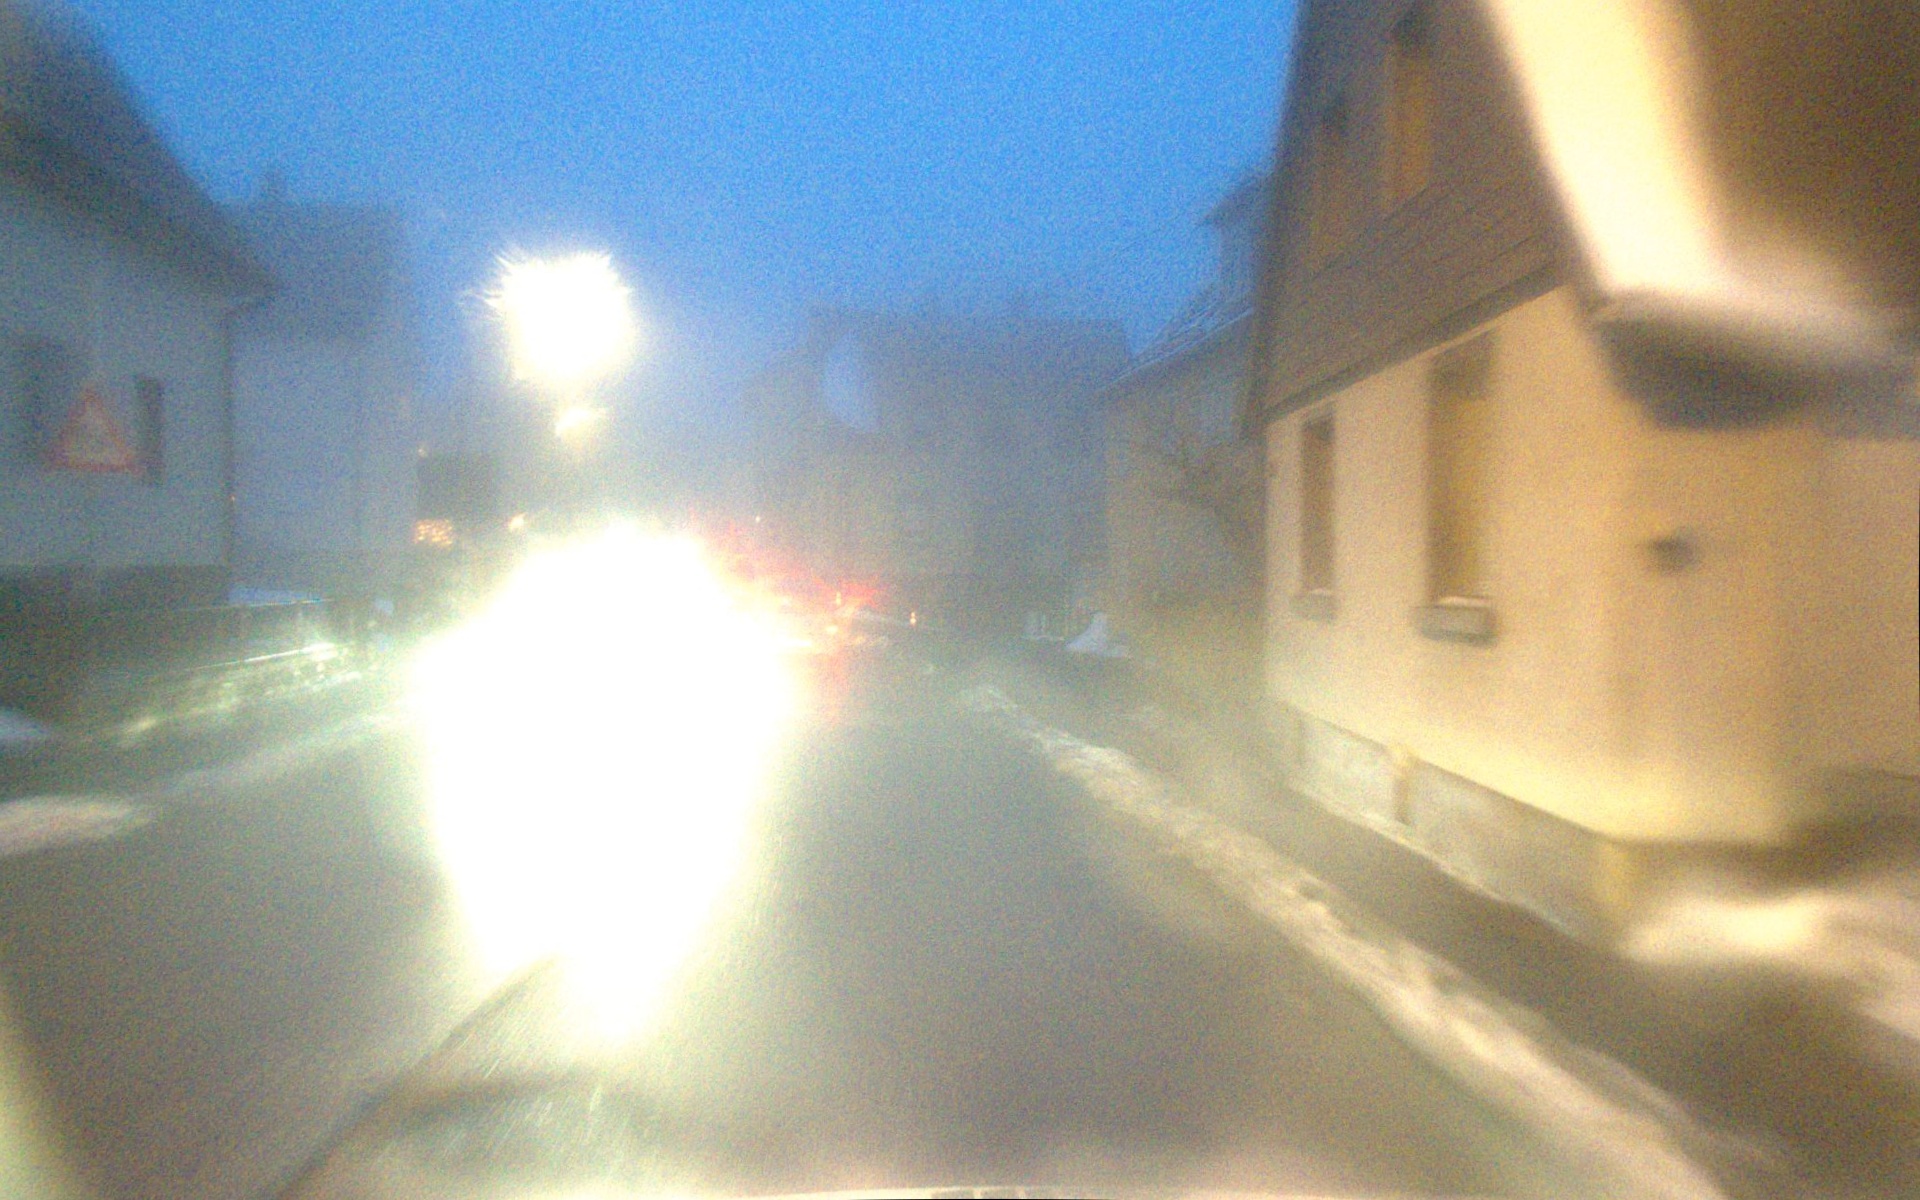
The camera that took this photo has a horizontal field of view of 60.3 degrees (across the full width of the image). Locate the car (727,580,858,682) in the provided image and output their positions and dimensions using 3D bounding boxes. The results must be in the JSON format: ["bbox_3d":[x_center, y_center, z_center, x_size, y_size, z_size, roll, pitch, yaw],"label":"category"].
[{"bbox_3d":[-2.950,0.529,28.402,1.957,1.534,3.991,3,-1,-9],"label":"car"}]

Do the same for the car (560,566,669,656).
[{"bbox_3d":[-7.043,0.281,34.087,1.806,1.717,4.470,0,-2,-7],"label":"car"}]

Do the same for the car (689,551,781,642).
[{"bbox_3d":[-5.543,-0.044,41.141,1.955,2.049,3.996,3,-1,-5],"label":"car"}]
